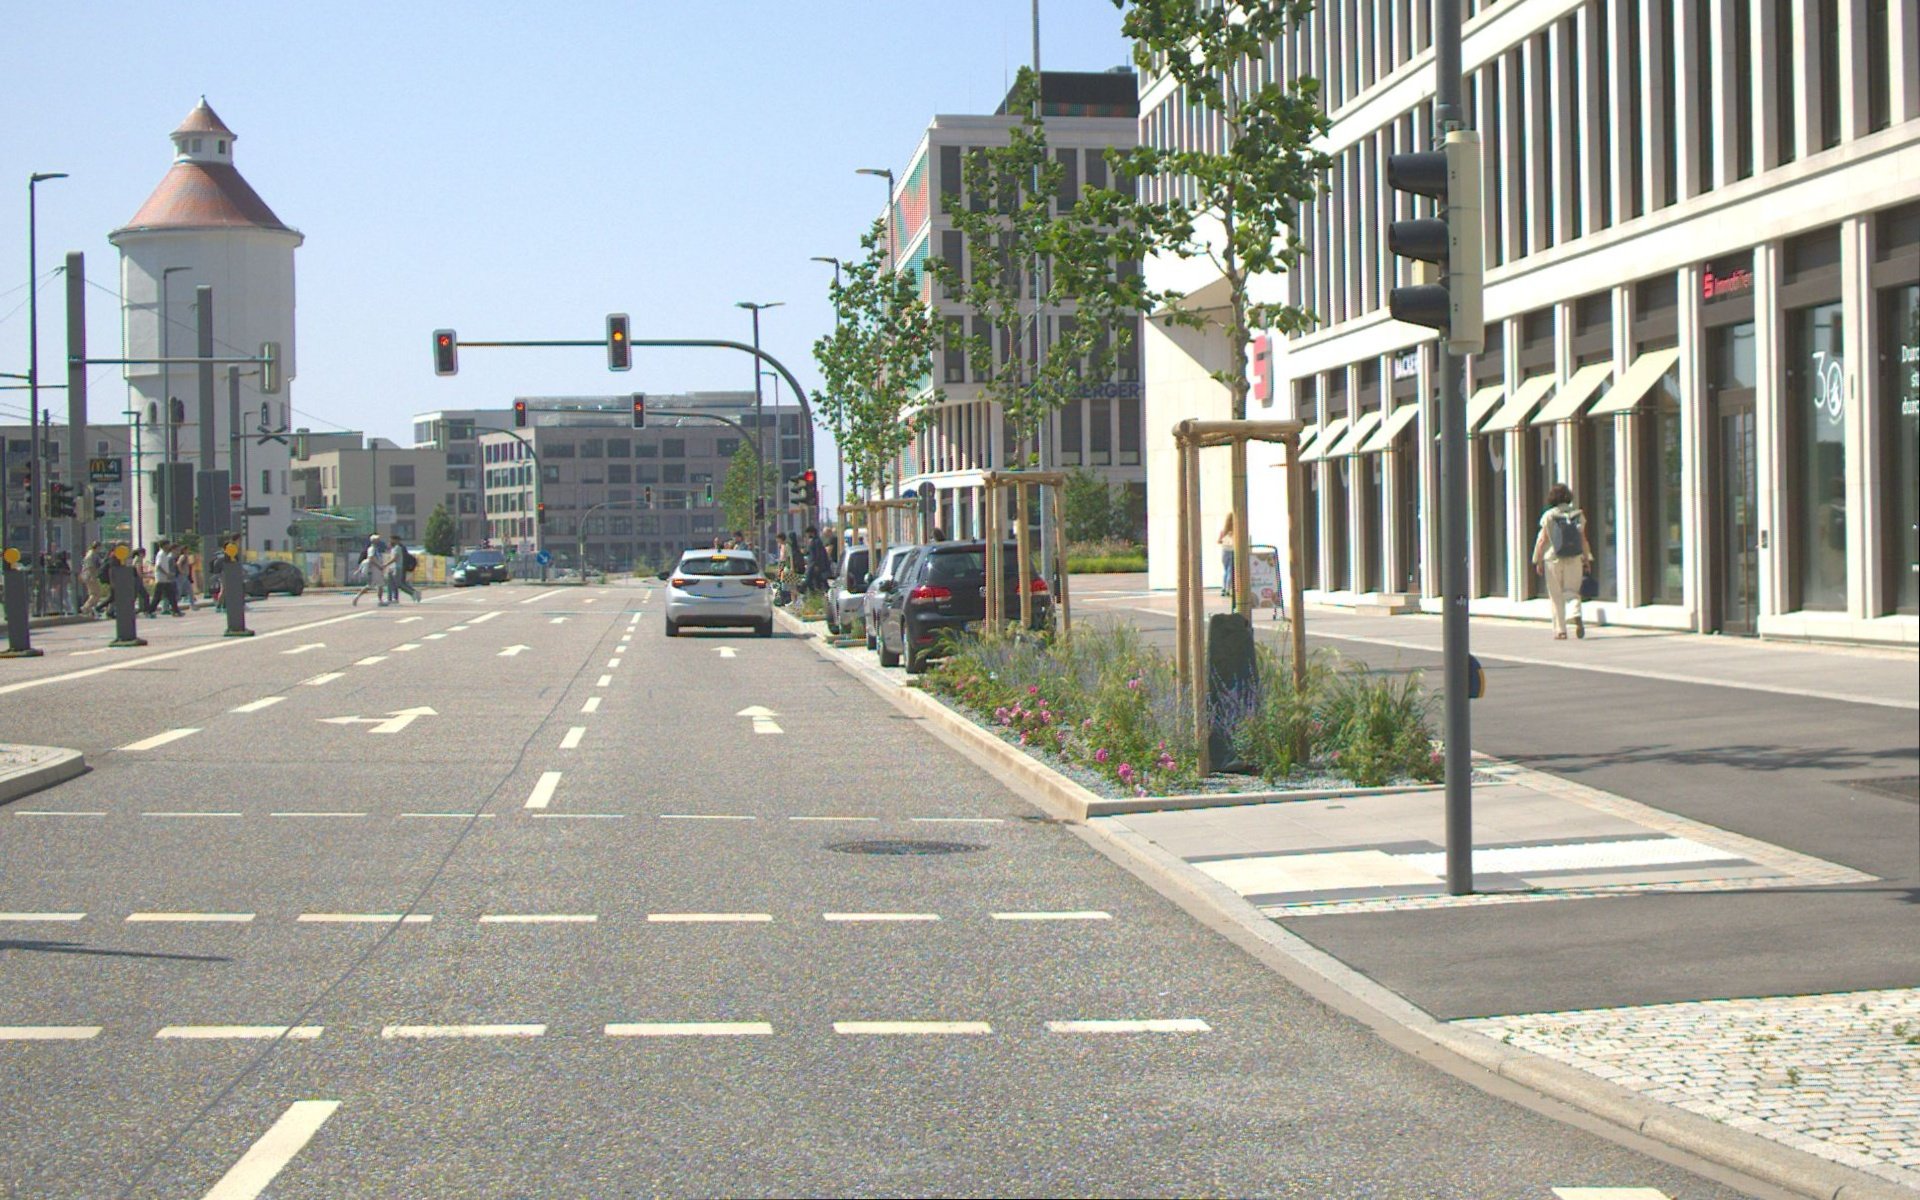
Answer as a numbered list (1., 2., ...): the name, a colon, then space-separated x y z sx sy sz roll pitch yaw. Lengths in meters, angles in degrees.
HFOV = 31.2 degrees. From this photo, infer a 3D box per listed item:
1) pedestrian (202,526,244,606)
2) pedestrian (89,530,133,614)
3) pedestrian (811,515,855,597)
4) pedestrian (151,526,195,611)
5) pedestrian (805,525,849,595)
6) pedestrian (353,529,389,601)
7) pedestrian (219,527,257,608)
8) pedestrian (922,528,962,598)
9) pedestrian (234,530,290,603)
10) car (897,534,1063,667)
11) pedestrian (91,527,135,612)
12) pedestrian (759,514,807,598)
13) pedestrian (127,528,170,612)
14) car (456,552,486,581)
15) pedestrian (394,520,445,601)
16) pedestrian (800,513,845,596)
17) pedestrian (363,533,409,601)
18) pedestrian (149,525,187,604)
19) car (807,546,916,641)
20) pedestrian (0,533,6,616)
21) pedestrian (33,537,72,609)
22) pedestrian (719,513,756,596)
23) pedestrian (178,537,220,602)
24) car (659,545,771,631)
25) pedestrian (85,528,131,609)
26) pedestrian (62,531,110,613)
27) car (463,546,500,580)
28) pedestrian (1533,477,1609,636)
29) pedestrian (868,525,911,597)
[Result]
1. pedestrian: -17.639 -0.811 82.312 0.841 1.884 0.692 -1 1 -3
2. pedestrian: -19.415 -0.642 78.662 0.887 1.884 0.692 -1 1 -9
3. pedestrian: -2.950 -1.024 79.672 0.887 1.884 0.796 -1 1 -9
4. pedestrian: -17.612 -0.704 76.972 0.887 1.884 0.692 -1 1 -9
5. pedestrian: -3.172 -0.954 82.158 0.887 1.641 0.796 -1 1 -14
6. pedestrian: -14.200 -0.849 82.911 0.766 1.728 0.692 -1 1 -3
7. pedestrian: -17.080 -0.775 81.361 0.766 1.884 0.692 -1 1 -3
8. pedestrian: -0.417 -0.869 79.964 0.766 1.614 0.691 -1 1 12
9. pedestrian: -17.716 -0.850 87.309 1.181 1.814 1.069 -1 1 0
10. car: 0.192 -0.005 40.259 1.736 1.469 3.981 0 0 -3
11. pedestrian: -18.963 -0.685 76.973 0.887 1.884 0.692 -1 1 -9
12. pedestrian: -4.000 -0.996 77.609 1.013 1.884 0.798 -1 1 -7
13. pedestrian: -18.397 -0.678 77.951 0.887 1.884 0.692 -1 1 -9
14. car: -26.771 -1.829 188.356 1.586 1.525 3.258 0 0 -8
15. pedestrian: -13.591 -1.005 86.417 1.020 2.007 0.954 -1 1 -23
16. pedestrian: -3.153 -1.040 78.772 0.887 1.884 0.796 -1 1 -9
17. pedestrian: -14.364 -0.829 85.972 0.893 1.668 1.013 -1 1 -23
18. pedestrian: -19.086 -0.845 82.871 0.734 1.884 0.713 1 0 0
19. car: -1.622 -0.124 55.615 1.555 1.467 3.470 -1 1 -5
20. pedestrian: -21.905 -0.568 77.362 0.636 1.884 0.796 -1 1 -3
21. pedestrian: -20.590 -0.607 78.004 0.633 1.612 0.768 -1 1 1
22. pedestrian: -5.091 -1.035 78.692 0.730 1.884 0.821 -1 1 2
23. pedestrian: -19.430 -0.790 87.785 0.888 1.641 0.796 -1 1 0
24. car: -4.102 -0.188 58.005 1.771 1.390 3.532 1 0 -3
25. pedestrian: -20.097 -0.746 81.090 0.887 1.884 0.796 -1 1 -4
26. pedestrian: -20.365 -0.663 80.107 0.888 1.884 0.796 -1 1 0
27. car: -22.218 -1.722 159.689 1.586 1.525 3.693 0 0 -6
28. pedestrian: 6.780 -0.486 38.161 0.627 1.736 0.814 -1 1 -4
29. pedestrian: -1.624 -0.904 79.092 0.887 1.629 0.692 -1 1 -9
